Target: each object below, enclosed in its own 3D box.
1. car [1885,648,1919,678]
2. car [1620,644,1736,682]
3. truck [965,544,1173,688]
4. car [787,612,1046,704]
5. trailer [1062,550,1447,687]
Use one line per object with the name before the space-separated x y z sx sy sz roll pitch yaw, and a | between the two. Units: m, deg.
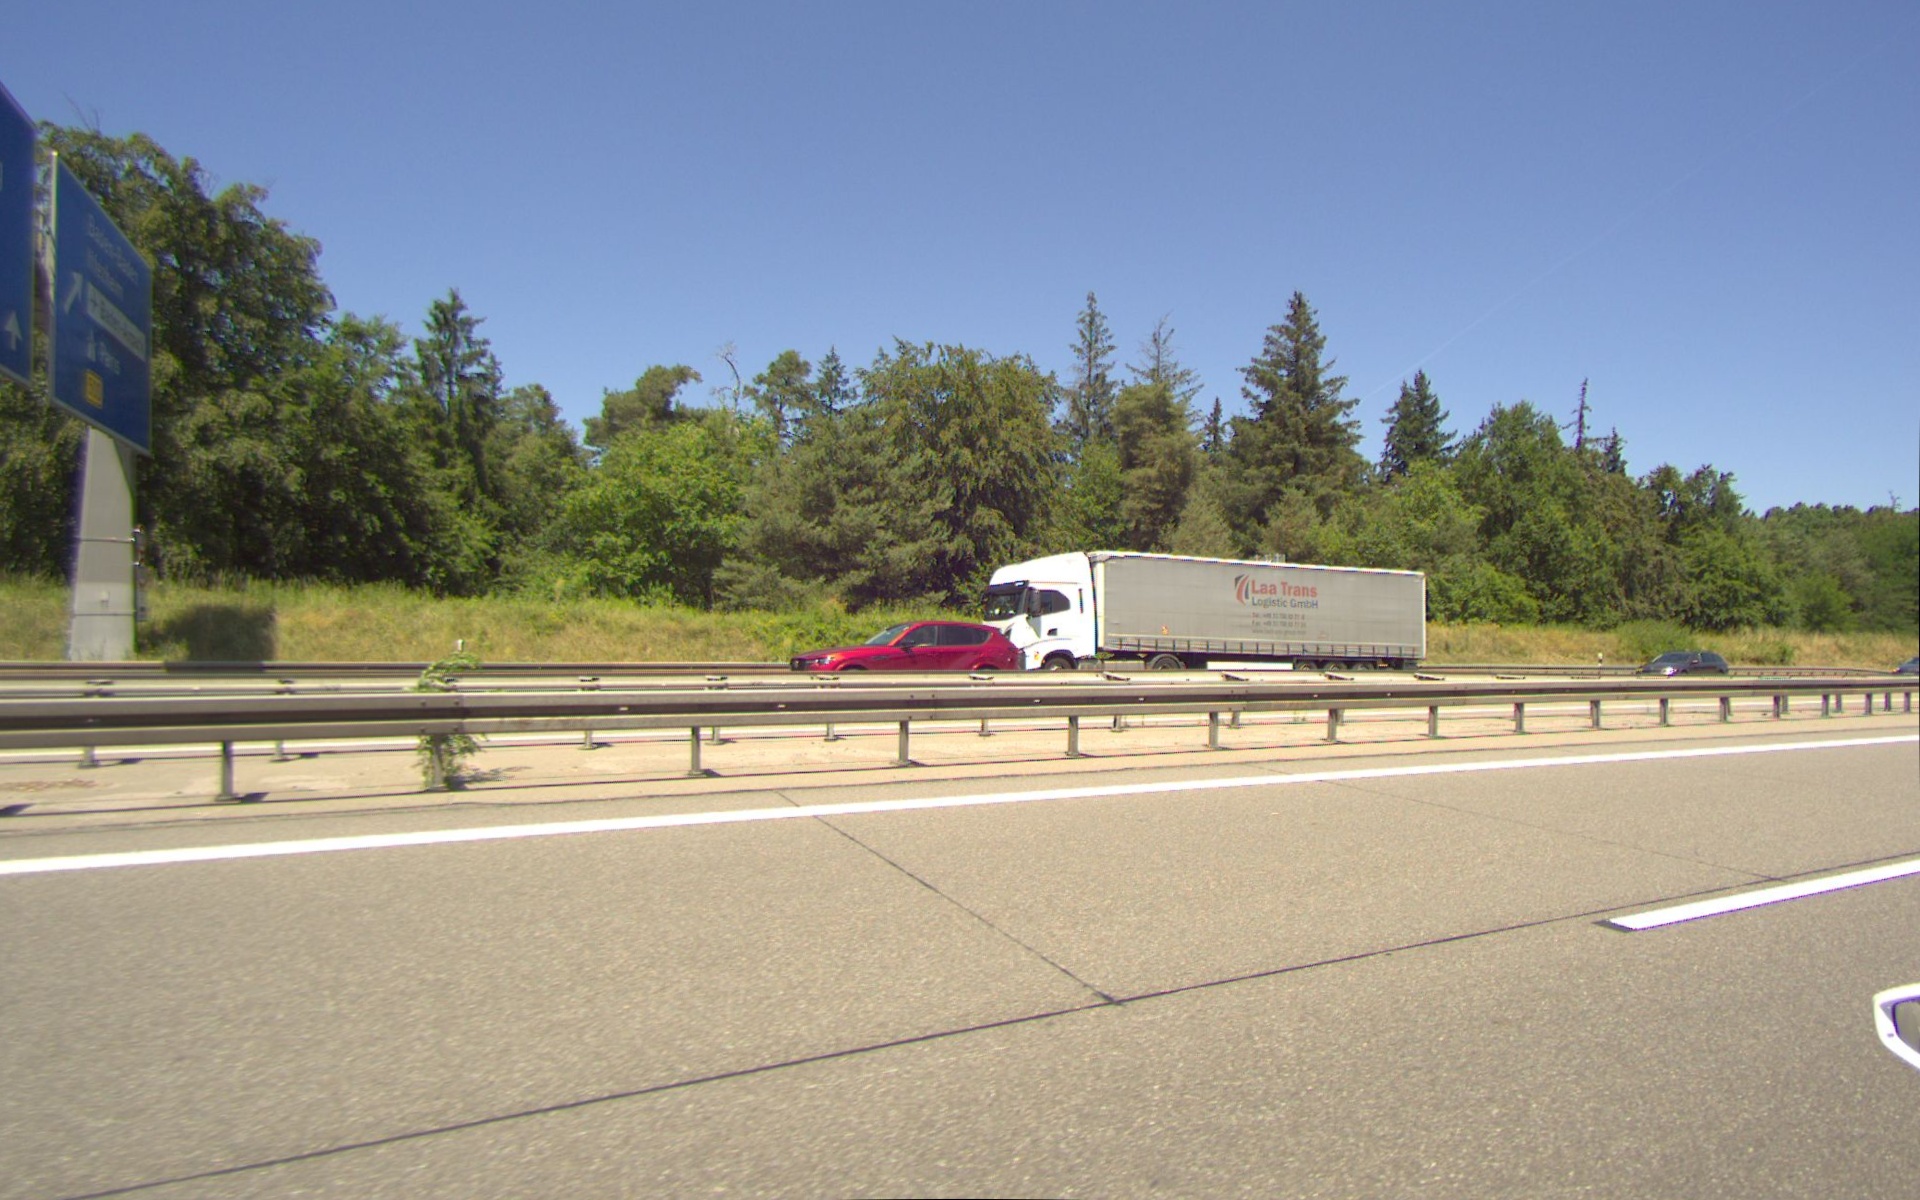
car | 50.433 3.285 52.215 4.879 1.482 1.920 2 -2 -27
car | 30.652 2.660 42.860 4.879 1.482 2.078 2 -2 -27
truck | 3.272 0.519 30.356 5.328 3.983 3.159 2 0 -25
car | -0.831 1.134 20.108 4.859 1.631 1.839 2 -1 -28
trailer | 10.163 0.745 33.688 13.776 3.983 3.158 2 -1 -26
